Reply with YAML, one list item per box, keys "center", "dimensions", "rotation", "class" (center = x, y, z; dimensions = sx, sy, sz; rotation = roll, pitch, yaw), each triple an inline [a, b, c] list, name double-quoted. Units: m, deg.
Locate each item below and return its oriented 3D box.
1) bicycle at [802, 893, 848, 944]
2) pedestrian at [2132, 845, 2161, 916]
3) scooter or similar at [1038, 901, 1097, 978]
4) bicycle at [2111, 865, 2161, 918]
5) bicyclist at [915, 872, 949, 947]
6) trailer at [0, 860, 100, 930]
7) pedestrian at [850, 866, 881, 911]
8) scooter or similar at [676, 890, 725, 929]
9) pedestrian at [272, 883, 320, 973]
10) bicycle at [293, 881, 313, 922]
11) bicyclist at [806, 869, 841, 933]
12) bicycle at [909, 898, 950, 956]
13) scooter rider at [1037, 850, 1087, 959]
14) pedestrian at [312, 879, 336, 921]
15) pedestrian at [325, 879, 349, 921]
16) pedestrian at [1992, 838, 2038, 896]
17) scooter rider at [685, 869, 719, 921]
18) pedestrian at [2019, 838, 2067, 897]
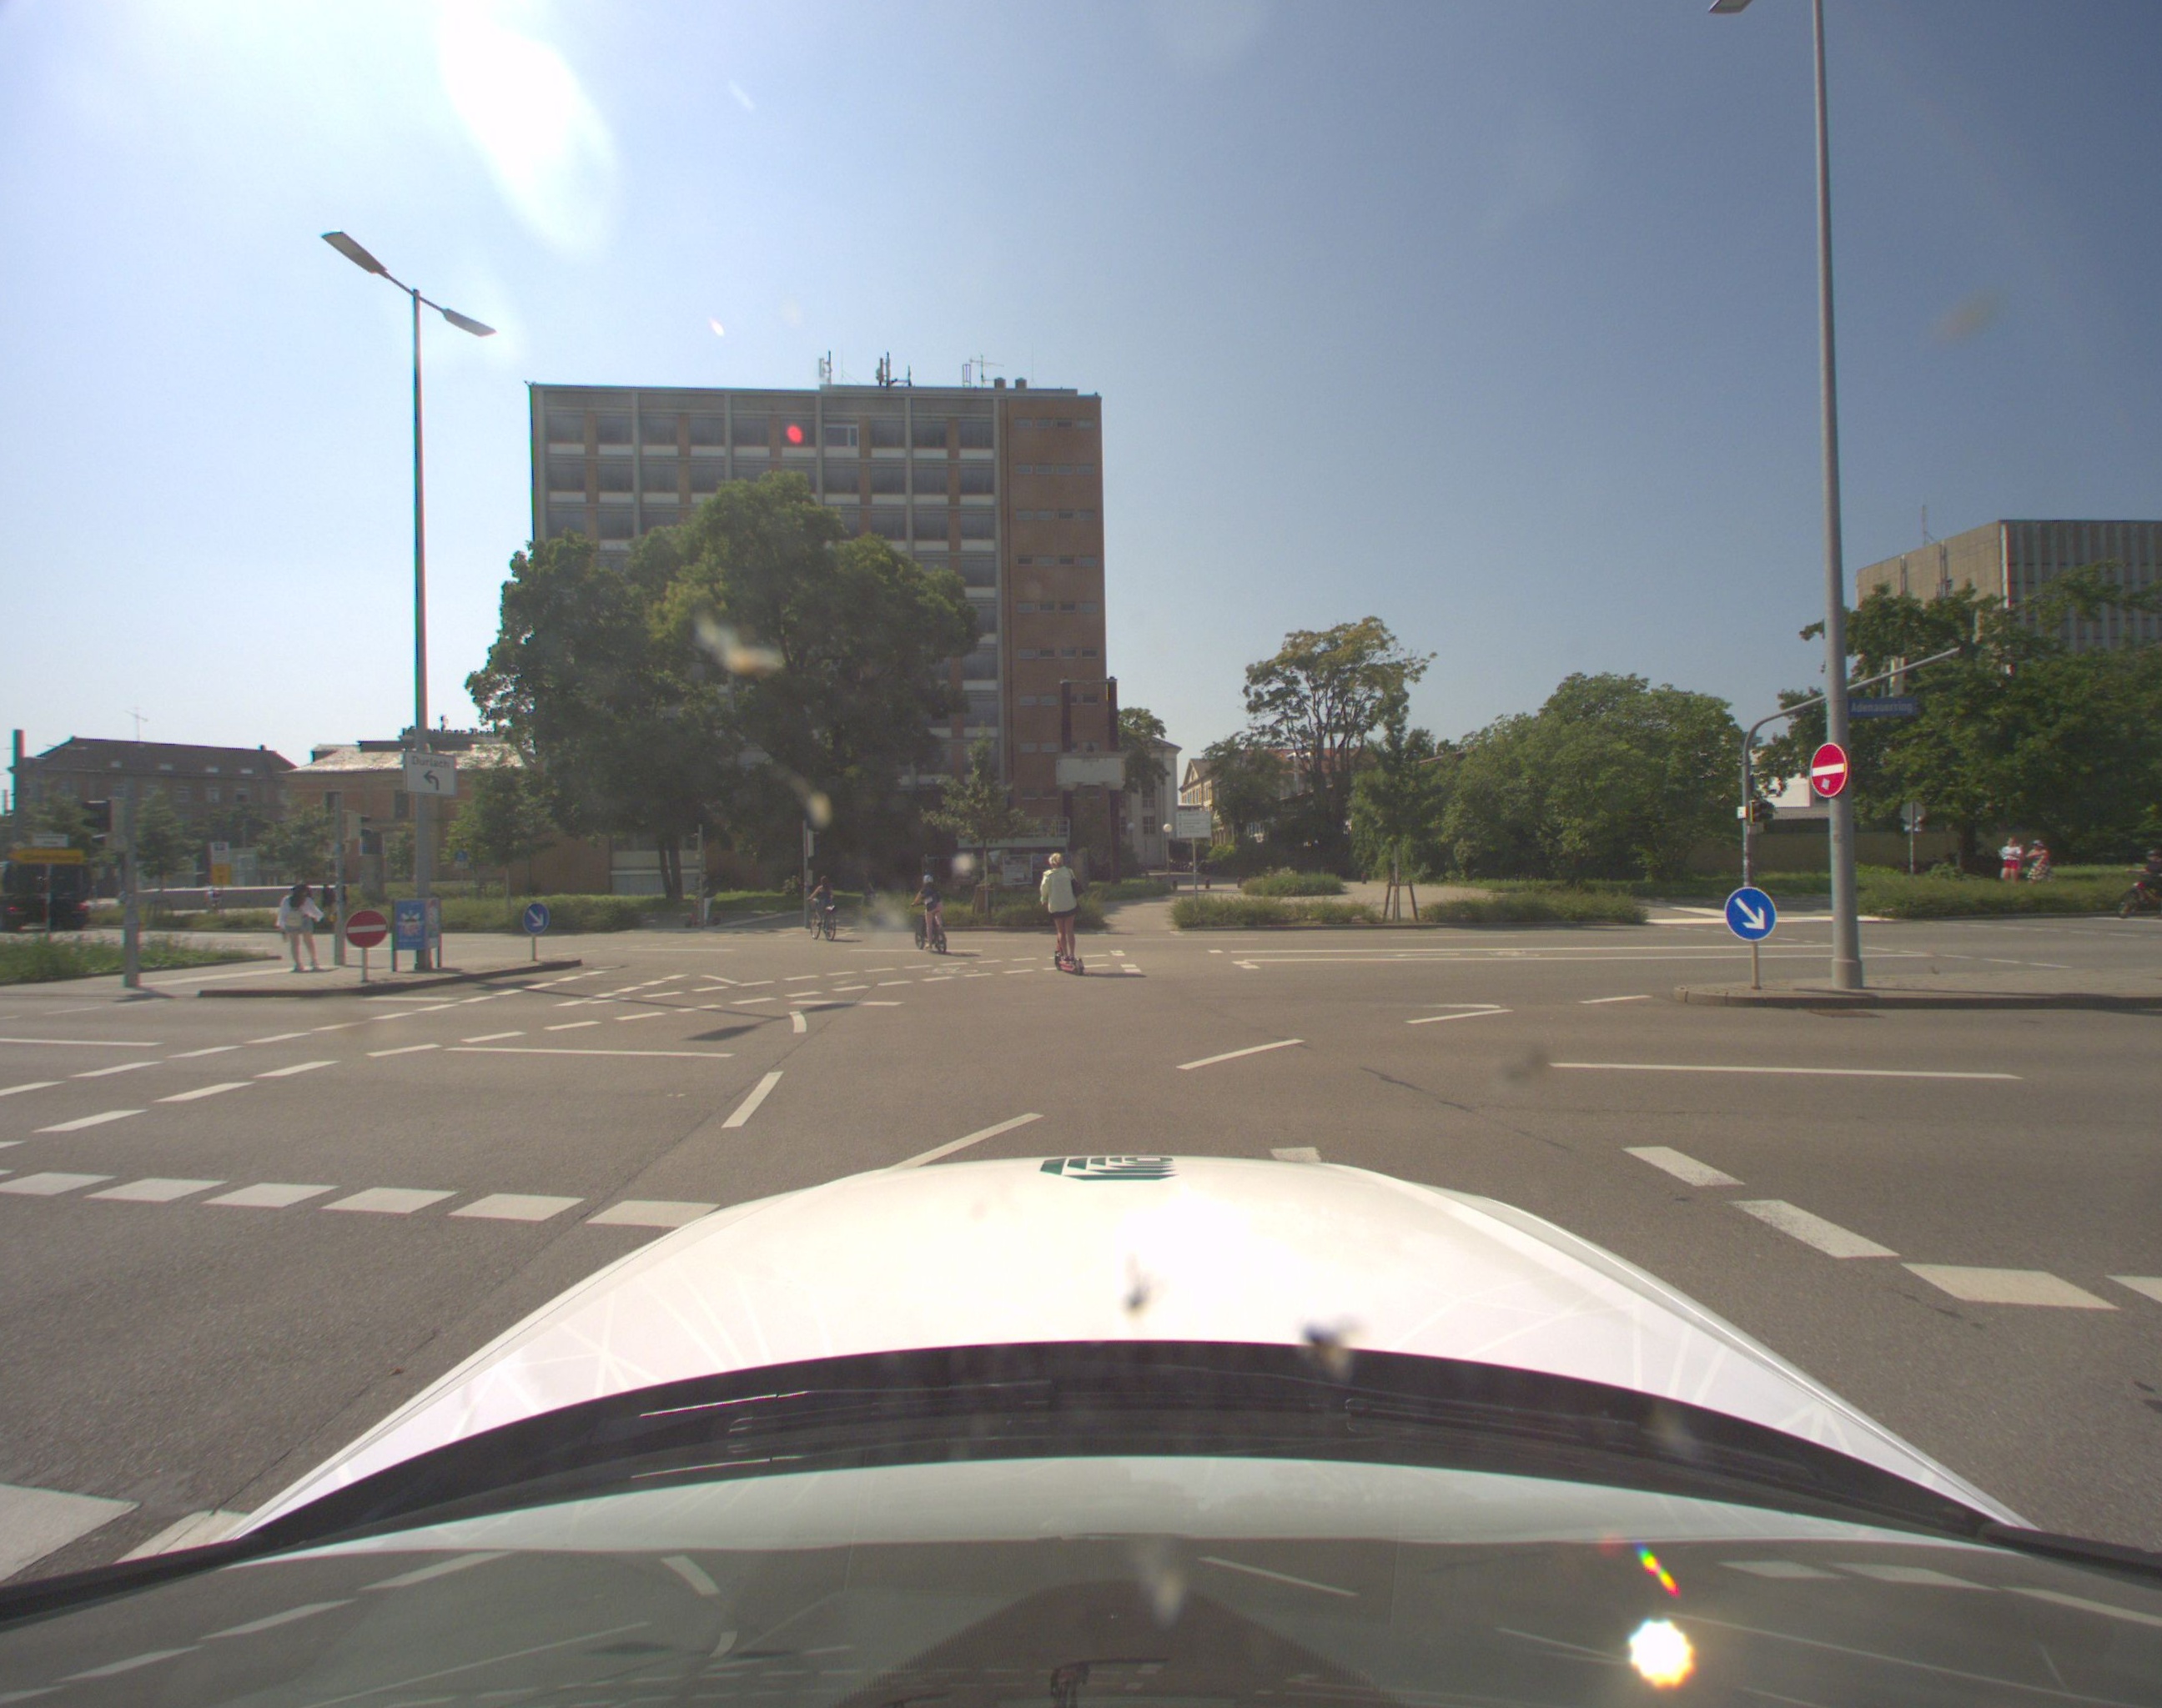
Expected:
- center: [-6.865, 1.687, 21.756]
  dimensions: [0.698, 1.155, 2.349]
  rotation: [-2, 1, -29]
  class: "bicycle"
- center: [25.877, 0.627, 19.435]
  dimensions: [0.545, 1.669, 0.781]
  rotation: [-1, -1, 3]
  class: "pedestrian"
- center: [-0.242, 1.310, 12.888]
  dimensions: [0.556, 1.060, 1.996]
  rotation: [-1, -2, -11]
  class: "scooter or similar"
- center: [26.008, 0.875, 19.425]
  dimensions: [1.776, 1.212, 0.787]
  rotation: [-1, -1, 2]
  class: "bicycle"
- center: [-3.120, 1.141, 17.009]
  dimensions: [0.550, 1.496, 0.798]
  rotation: [-1, -1, -20]
  class: "bicyclist"
- center: [-48.202, 1.879, 37.513]
  dimensions: [6.245, 3.008, 2.485]
  rotation: [-2, -3, 27]
  class: "trailer"
- center: [-8.282, 1.321, 31.319]
  dimensions: [0.870, 1.704, 0.711]
  rotation: [-2, 1, 15]
  class: "pedestrian"
- center: [-13.122, 1.901, 28.101]
  dimensions: [0.578, 1.234, 1.377]
  rotation: [-2, 0, 39]
  class: "scooter or similar"
- center: [-15.460, 1.428, 16.051]
  dimensions: [0.611, 1.695, 0.692]
  rotation: [-1, -1, -41]
  class: "pedestrian"
- center: [-36.423, 2.221, 38.125]
  dimensions: [1.345, 1.860, 0.460]
  rotation: [-2, -1, 38]
  class: "bicycle"
- center: [-6.875, 1.233, 21.735]
  dimensions: [0.694, 1.598, 0.836]
  rotation: [-3, 1, -29]
  class: "bicyclist"
- center: [-3.253, 1.520, 17.407]
  dimensions: [0.558, 1.060, 1.991]
  rotation: [-1, -1, -19]
  class: "bicycle"
- center: [-0.311, 0.796, 13.146]
  dimensions: [0.671, 1.700, 0.537]
  rotation: [-1, -2, -12]
  class: "scooter rider"
- center: [-36.131, 2.192, 38.872]
  dimensions: [0.744, 1.973, 0.785]
  rotation: [-2, -1, 41]
  class: "pedestrian"
- center: [-36.480, 2.234, 39.907]
  dimensions: [0.744, 1.973, 0.785]
  rotation: [-2, -1, 41]
  class: "pedestrian"
- center: [29.255, 0.413, 25.511]
  dimensions: [0.583, 1.771, 0.694]
  rotation: [-1, -1, 3]
  class: "pedestrian"
- center: [-13.078, 1.410, 28.095]
  dimensions: [0.680, 1.739, 0.810]
  rotation: [-2, -1, 39]
  class: "scooter rider"
- center: [29.263, 0.414, 24.776]
  dimensions: [0.583, 1.771, 0.694]
  rotation: [-1, -1, 3]
  class: "pedestrian"
